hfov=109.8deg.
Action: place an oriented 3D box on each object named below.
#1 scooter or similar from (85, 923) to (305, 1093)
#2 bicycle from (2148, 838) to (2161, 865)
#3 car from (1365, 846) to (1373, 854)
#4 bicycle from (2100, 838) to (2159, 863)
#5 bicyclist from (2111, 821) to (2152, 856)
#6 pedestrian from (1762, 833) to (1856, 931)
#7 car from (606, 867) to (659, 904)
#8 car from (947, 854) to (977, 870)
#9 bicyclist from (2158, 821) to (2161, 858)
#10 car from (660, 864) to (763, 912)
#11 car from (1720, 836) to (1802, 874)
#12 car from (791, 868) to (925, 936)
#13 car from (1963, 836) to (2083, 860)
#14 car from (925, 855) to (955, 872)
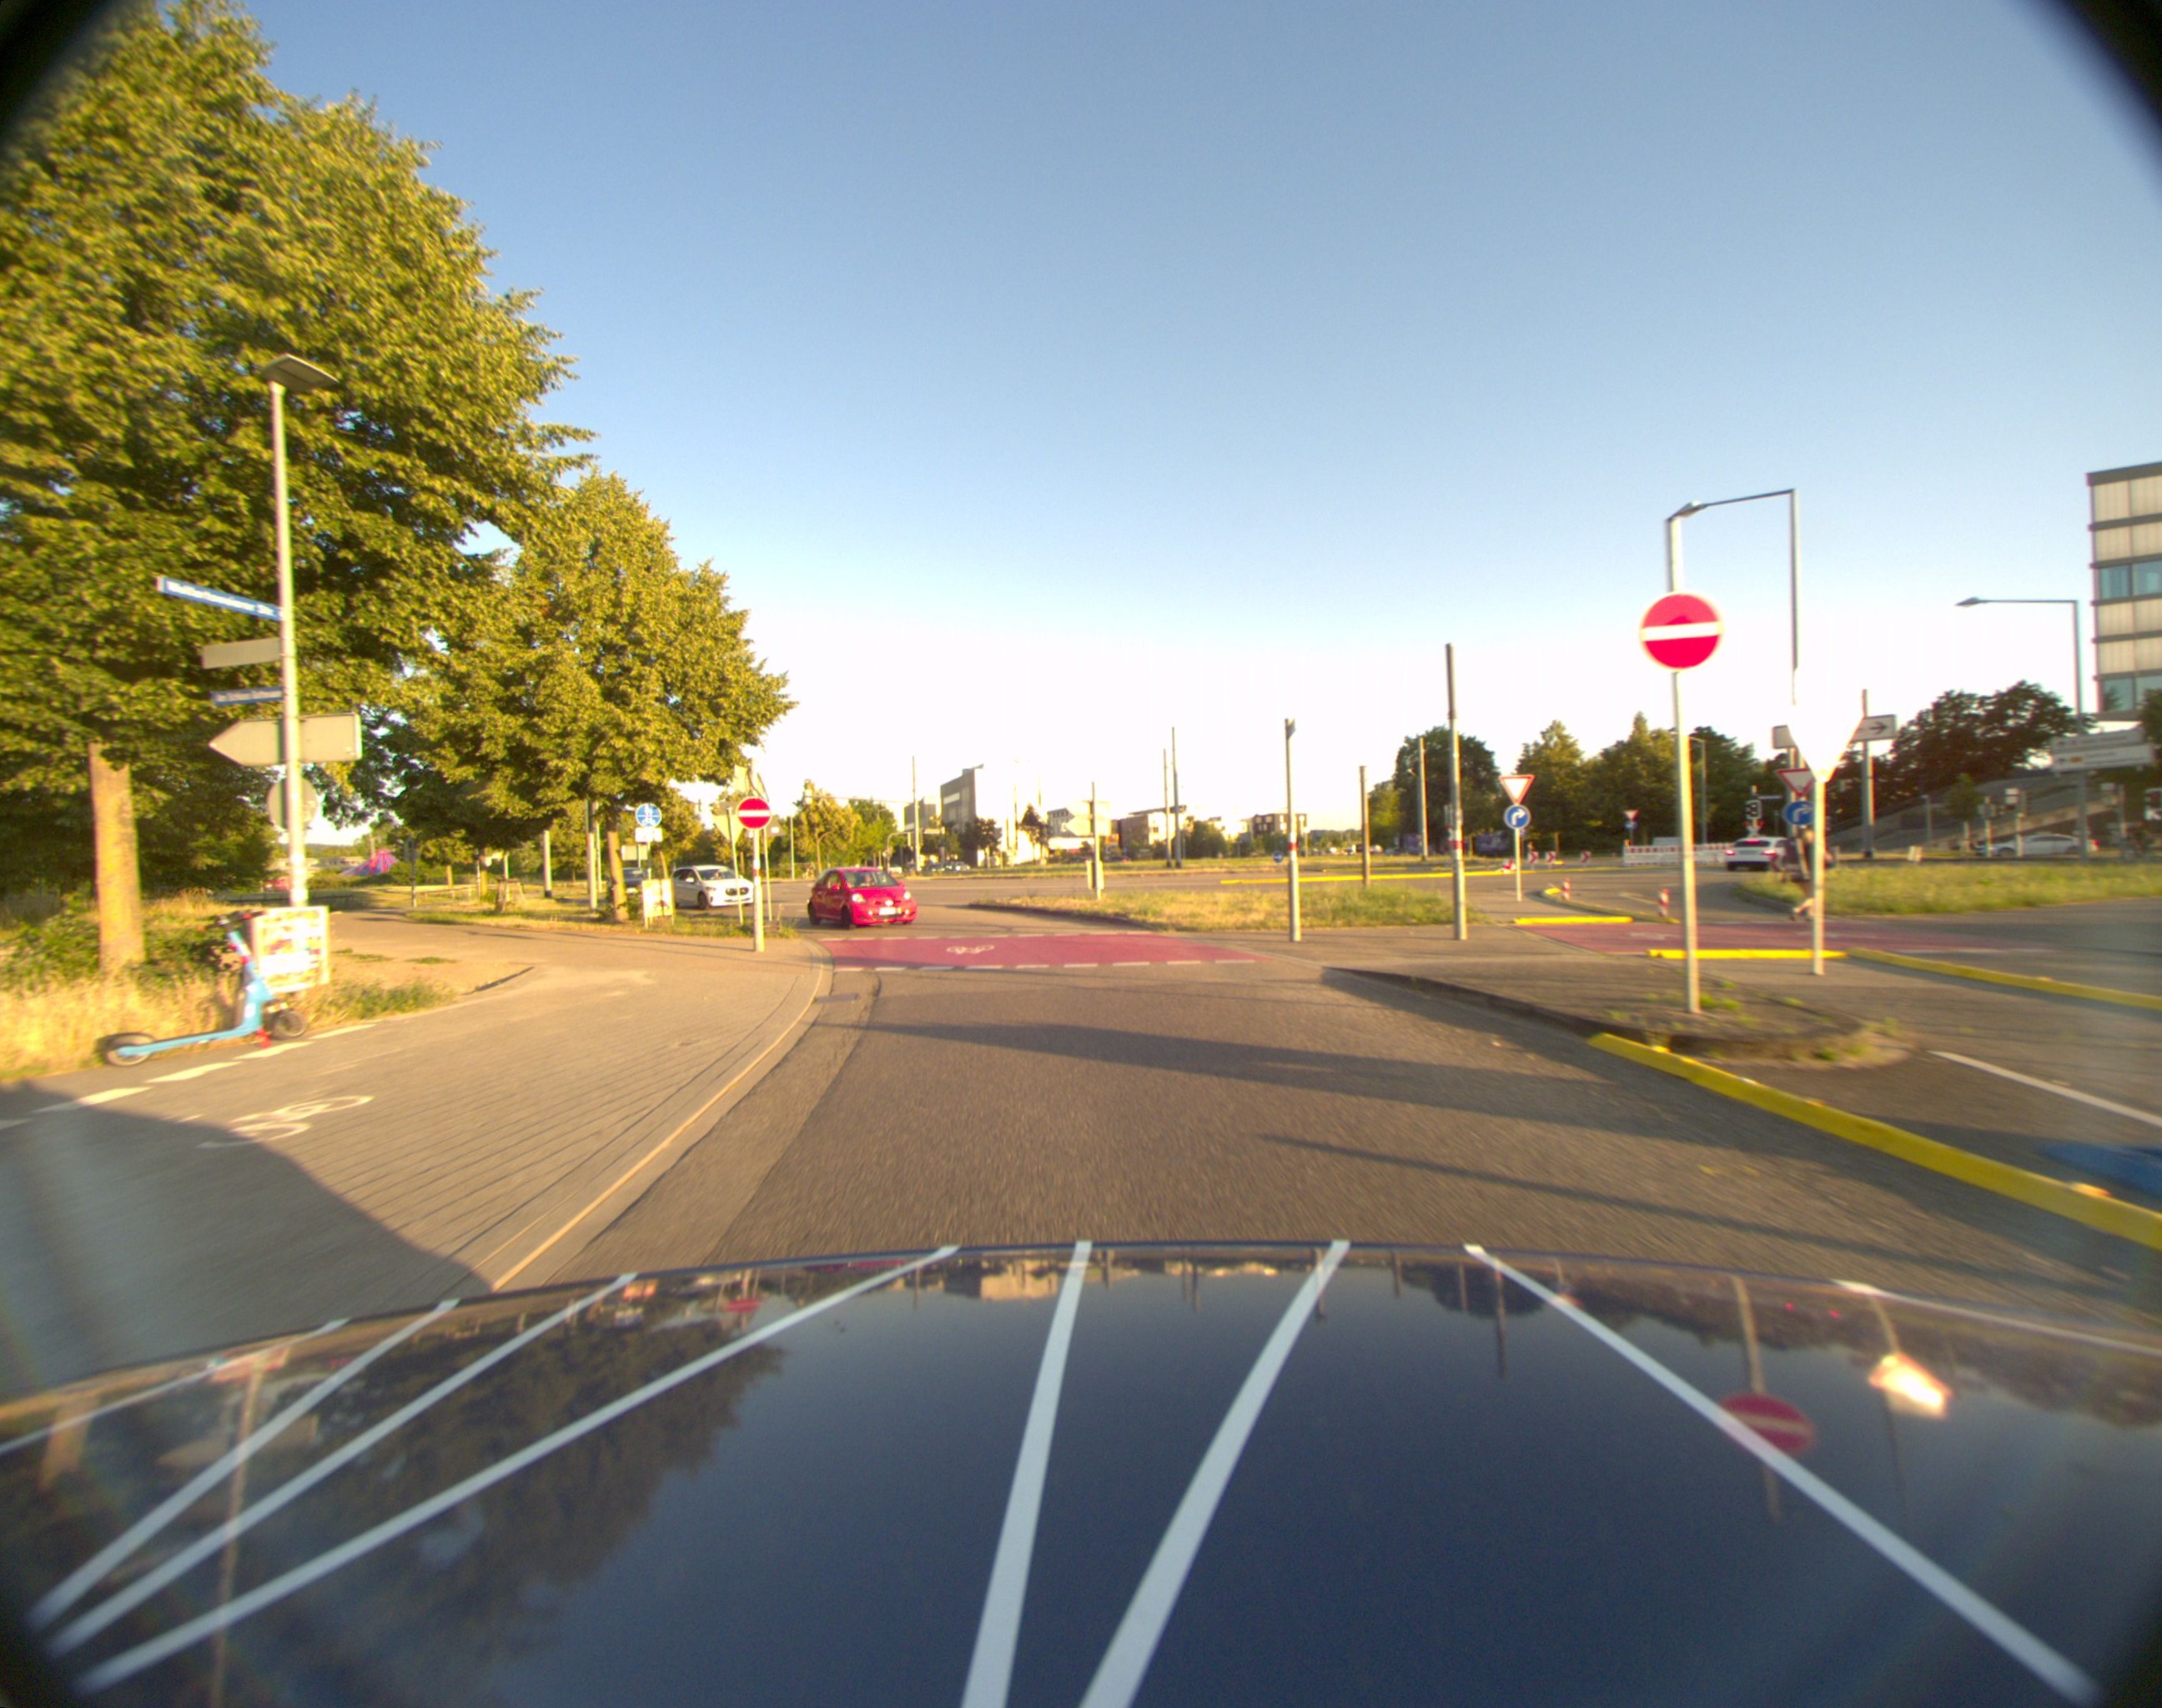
[{"bbox_3d":[-7.603,1.278,6.581,0.196,1.229,1.167,-1,2,41],"label":"scooter or similar"},{"bbox_3d":[43.429,-0.094,29.981,0.699,1.038,2.083,-1,1,29],"label":"bicycle"},{"bbox_3d":[79.095,-1.107,208.740,1.995,2.002,4.005,-1,1,21],"label":"car"},{"bbox_3d":[45.218,-0.167,32.796,0.699,1.038,2.083,-1,1,29],"label":"bicycle"},{"bbox_3d":[45.139,-0.654,32.660,0.699,1.482,0.976,-1,1,29],"label":"bicyclist"},{"bbox_3d":[12.828,0.477,13.413,0.926,1.685,0.787,-1,1,-5],"label":"pedestrian"},{"bbox_3d":[-21.595,1.459,36.510,1.794,1.548,4.398,-3,1,-35],"label":"car"},{"bbox_3d":[-9.936,0.642,63.326,1.622,1.262,3.806,-2,0,-22],"label":"car"},{"bbox_3d":[43.433,-0.585,29.994,0.699,1.482,0.976,-1,1,29],"label":"bicyclist"},{"bbox_3d":[-13.753,1.218,28.170,4.397,1.548,1.794,-2,1,41],"label":"car"},{"bbox_3d":[28.939,0.031,32.320,4.006,1.455,1.627,-2,1,-34],"label":"car"},{"bbox_3d":[-5.663,1.104,18.967,1.622,1.405,4.399,-4,1,-38],"label":"car"},{"bbox_3d":[60.991,-0.405,49.293,4.581,1.413,1.825,-1,1,24],"label":"car"},{"bbox_3d":[-11.627,0.761,62.492,1.622,1.243,3.806,-2,0,-22],"label":"car"}]
